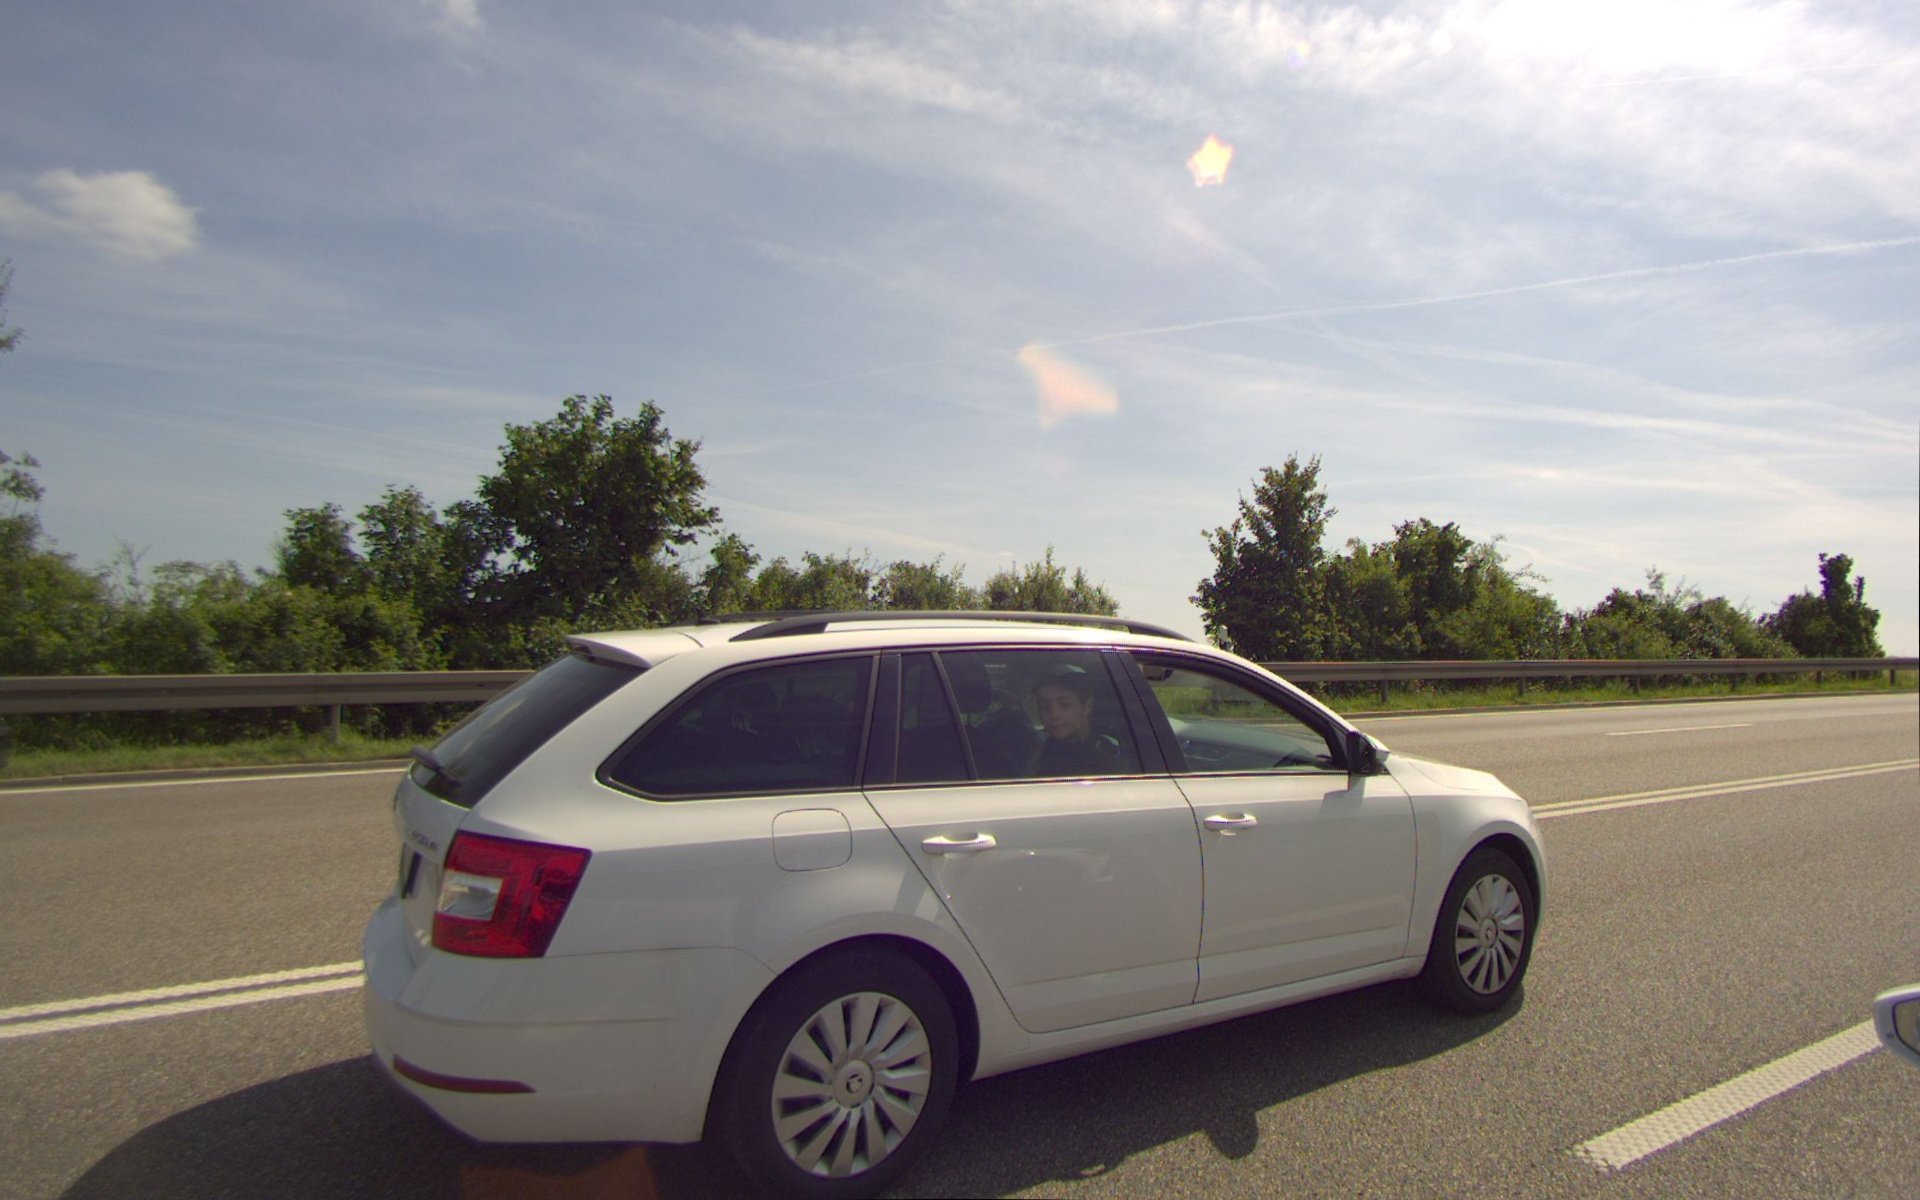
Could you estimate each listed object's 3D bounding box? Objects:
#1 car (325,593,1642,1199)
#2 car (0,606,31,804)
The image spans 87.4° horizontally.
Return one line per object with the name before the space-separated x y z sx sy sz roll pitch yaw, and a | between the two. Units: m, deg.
car | 0.417 0.776 3.854 4.733 1.492 1.812 1 0 -31
car | -8.843 0.726 6.140 4.275 1.474 1.828 2 -2 -30
